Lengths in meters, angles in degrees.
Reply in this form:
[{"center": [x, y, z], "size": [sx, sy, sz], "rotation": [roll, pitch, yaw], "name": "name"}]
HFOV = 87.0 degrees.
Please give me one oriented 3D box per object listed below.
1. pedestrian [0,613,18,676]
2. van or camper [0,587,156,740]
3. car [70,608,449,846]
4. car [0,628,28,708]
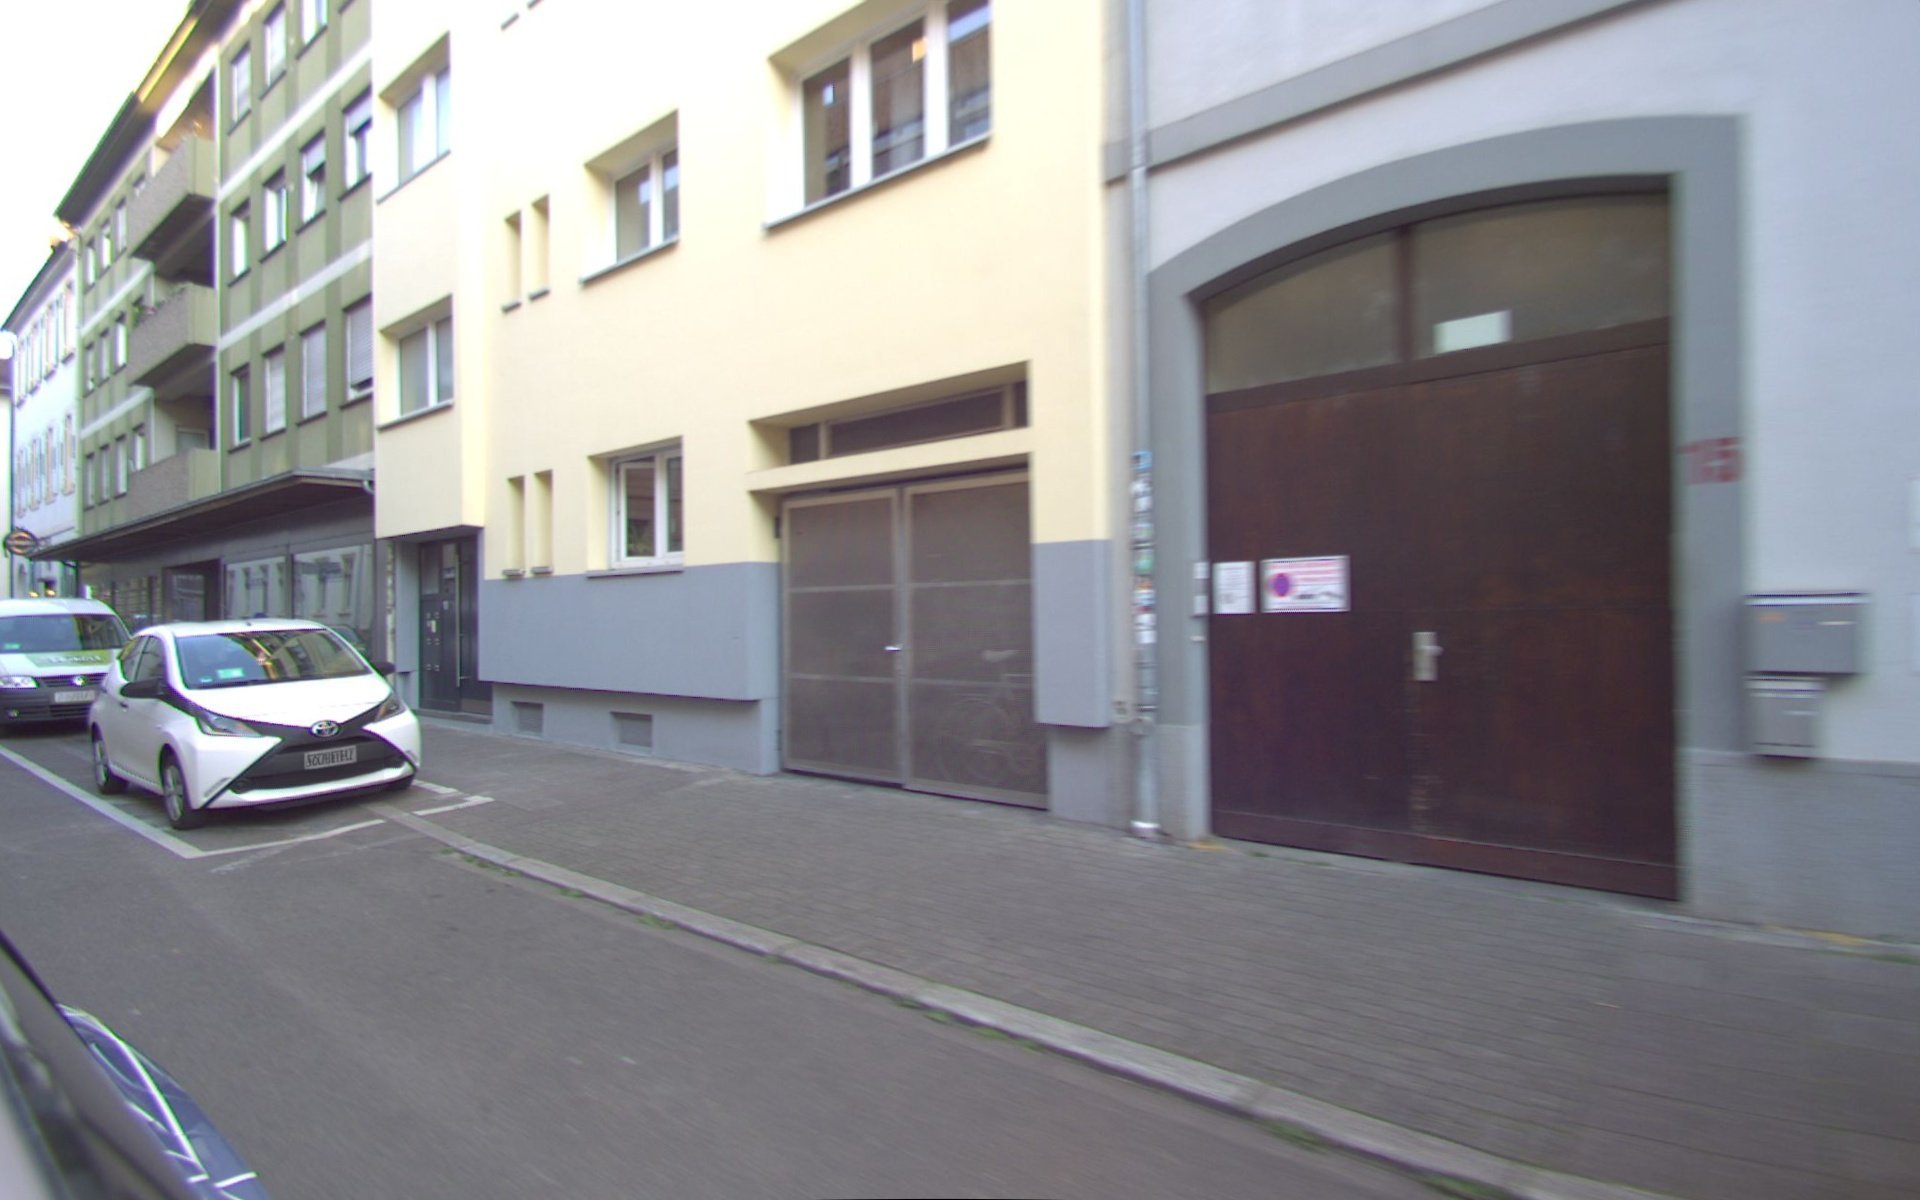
[{"center": [-27.145, 1.260, 28.789], "size": [0.470, 1.763, 0.444], "rotation": [-2, -1, 42], "name": "pedestrian"}, {"center": [-12.861, 0.824, 14.202], "size": [4.176, 1.862, 1.754], "rotation": [-2, -2, 41], "name": "van or camper"}, {"center": [-5.874, 0.866, 8.362], "size": [3.518, 1.459, 1.645], "rotation": [-1, 2, 40], "name": "car"}, {"center": [-19.034, 1.266, 19.070], "size": [3.976, 1.426, 1.608], "rotation": [-1, 0, 39], "name": "car"}]
